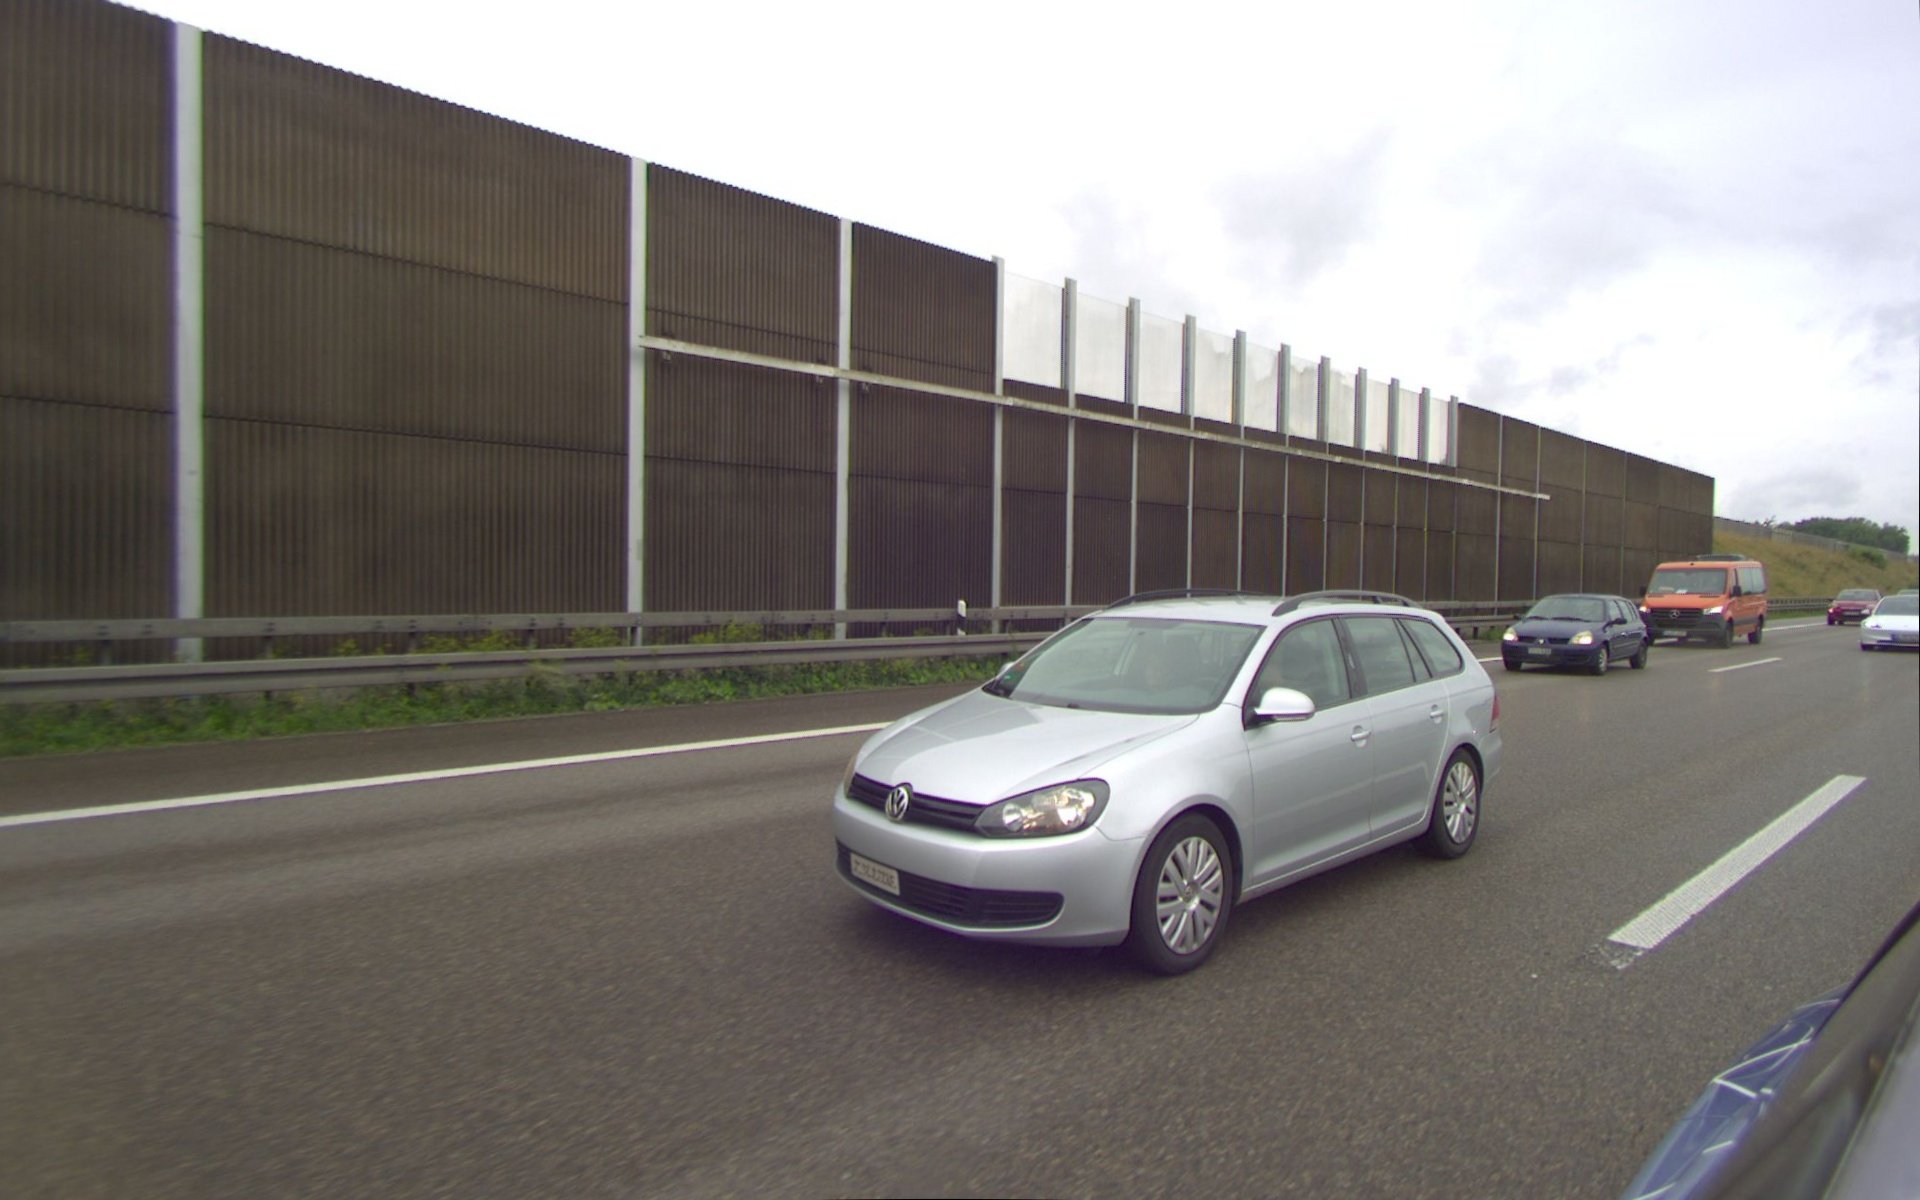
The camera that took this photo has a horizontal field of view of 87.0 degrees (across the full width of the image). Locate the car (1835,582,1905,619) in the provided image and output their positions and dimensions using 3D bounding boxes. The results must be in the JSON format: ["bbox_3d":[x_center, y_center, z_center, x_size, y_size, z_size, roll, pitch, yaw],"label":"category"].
[{"bbox_3d":[40.294,-0.008,44.791,3.932,1.554,1.876,-2,1,-42],"label":"car"}]

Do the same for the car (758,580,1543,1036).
[{"bbox_3d":[1.319,0.626,5.376,4.439,1.442,1.745,-1,2,-41],"label":"car"}]

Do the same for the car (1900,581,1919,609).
[{"bbox_3d":[53.746,-0.303,56.166,4.409,1.507,1.927,-2,1,-42],"label":"car"}]

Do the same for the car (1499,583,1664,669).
[{"bbox_3d":[11.760,0.422,19.047,3.811,1.419,1.704,-2,1,-43],"label":"car"}]

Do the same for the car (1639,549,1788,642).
[{"bbox_3d":[21.200,-0.170,28.340,6.073,2.344,2.089,-1,1,-41],"label":"car"}]

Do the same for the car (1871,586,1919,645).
[{"bbox_3d":[25.325,0.357,26.343,4.730,1.380,1.876,-2,1,-42],"label":"car"}]
